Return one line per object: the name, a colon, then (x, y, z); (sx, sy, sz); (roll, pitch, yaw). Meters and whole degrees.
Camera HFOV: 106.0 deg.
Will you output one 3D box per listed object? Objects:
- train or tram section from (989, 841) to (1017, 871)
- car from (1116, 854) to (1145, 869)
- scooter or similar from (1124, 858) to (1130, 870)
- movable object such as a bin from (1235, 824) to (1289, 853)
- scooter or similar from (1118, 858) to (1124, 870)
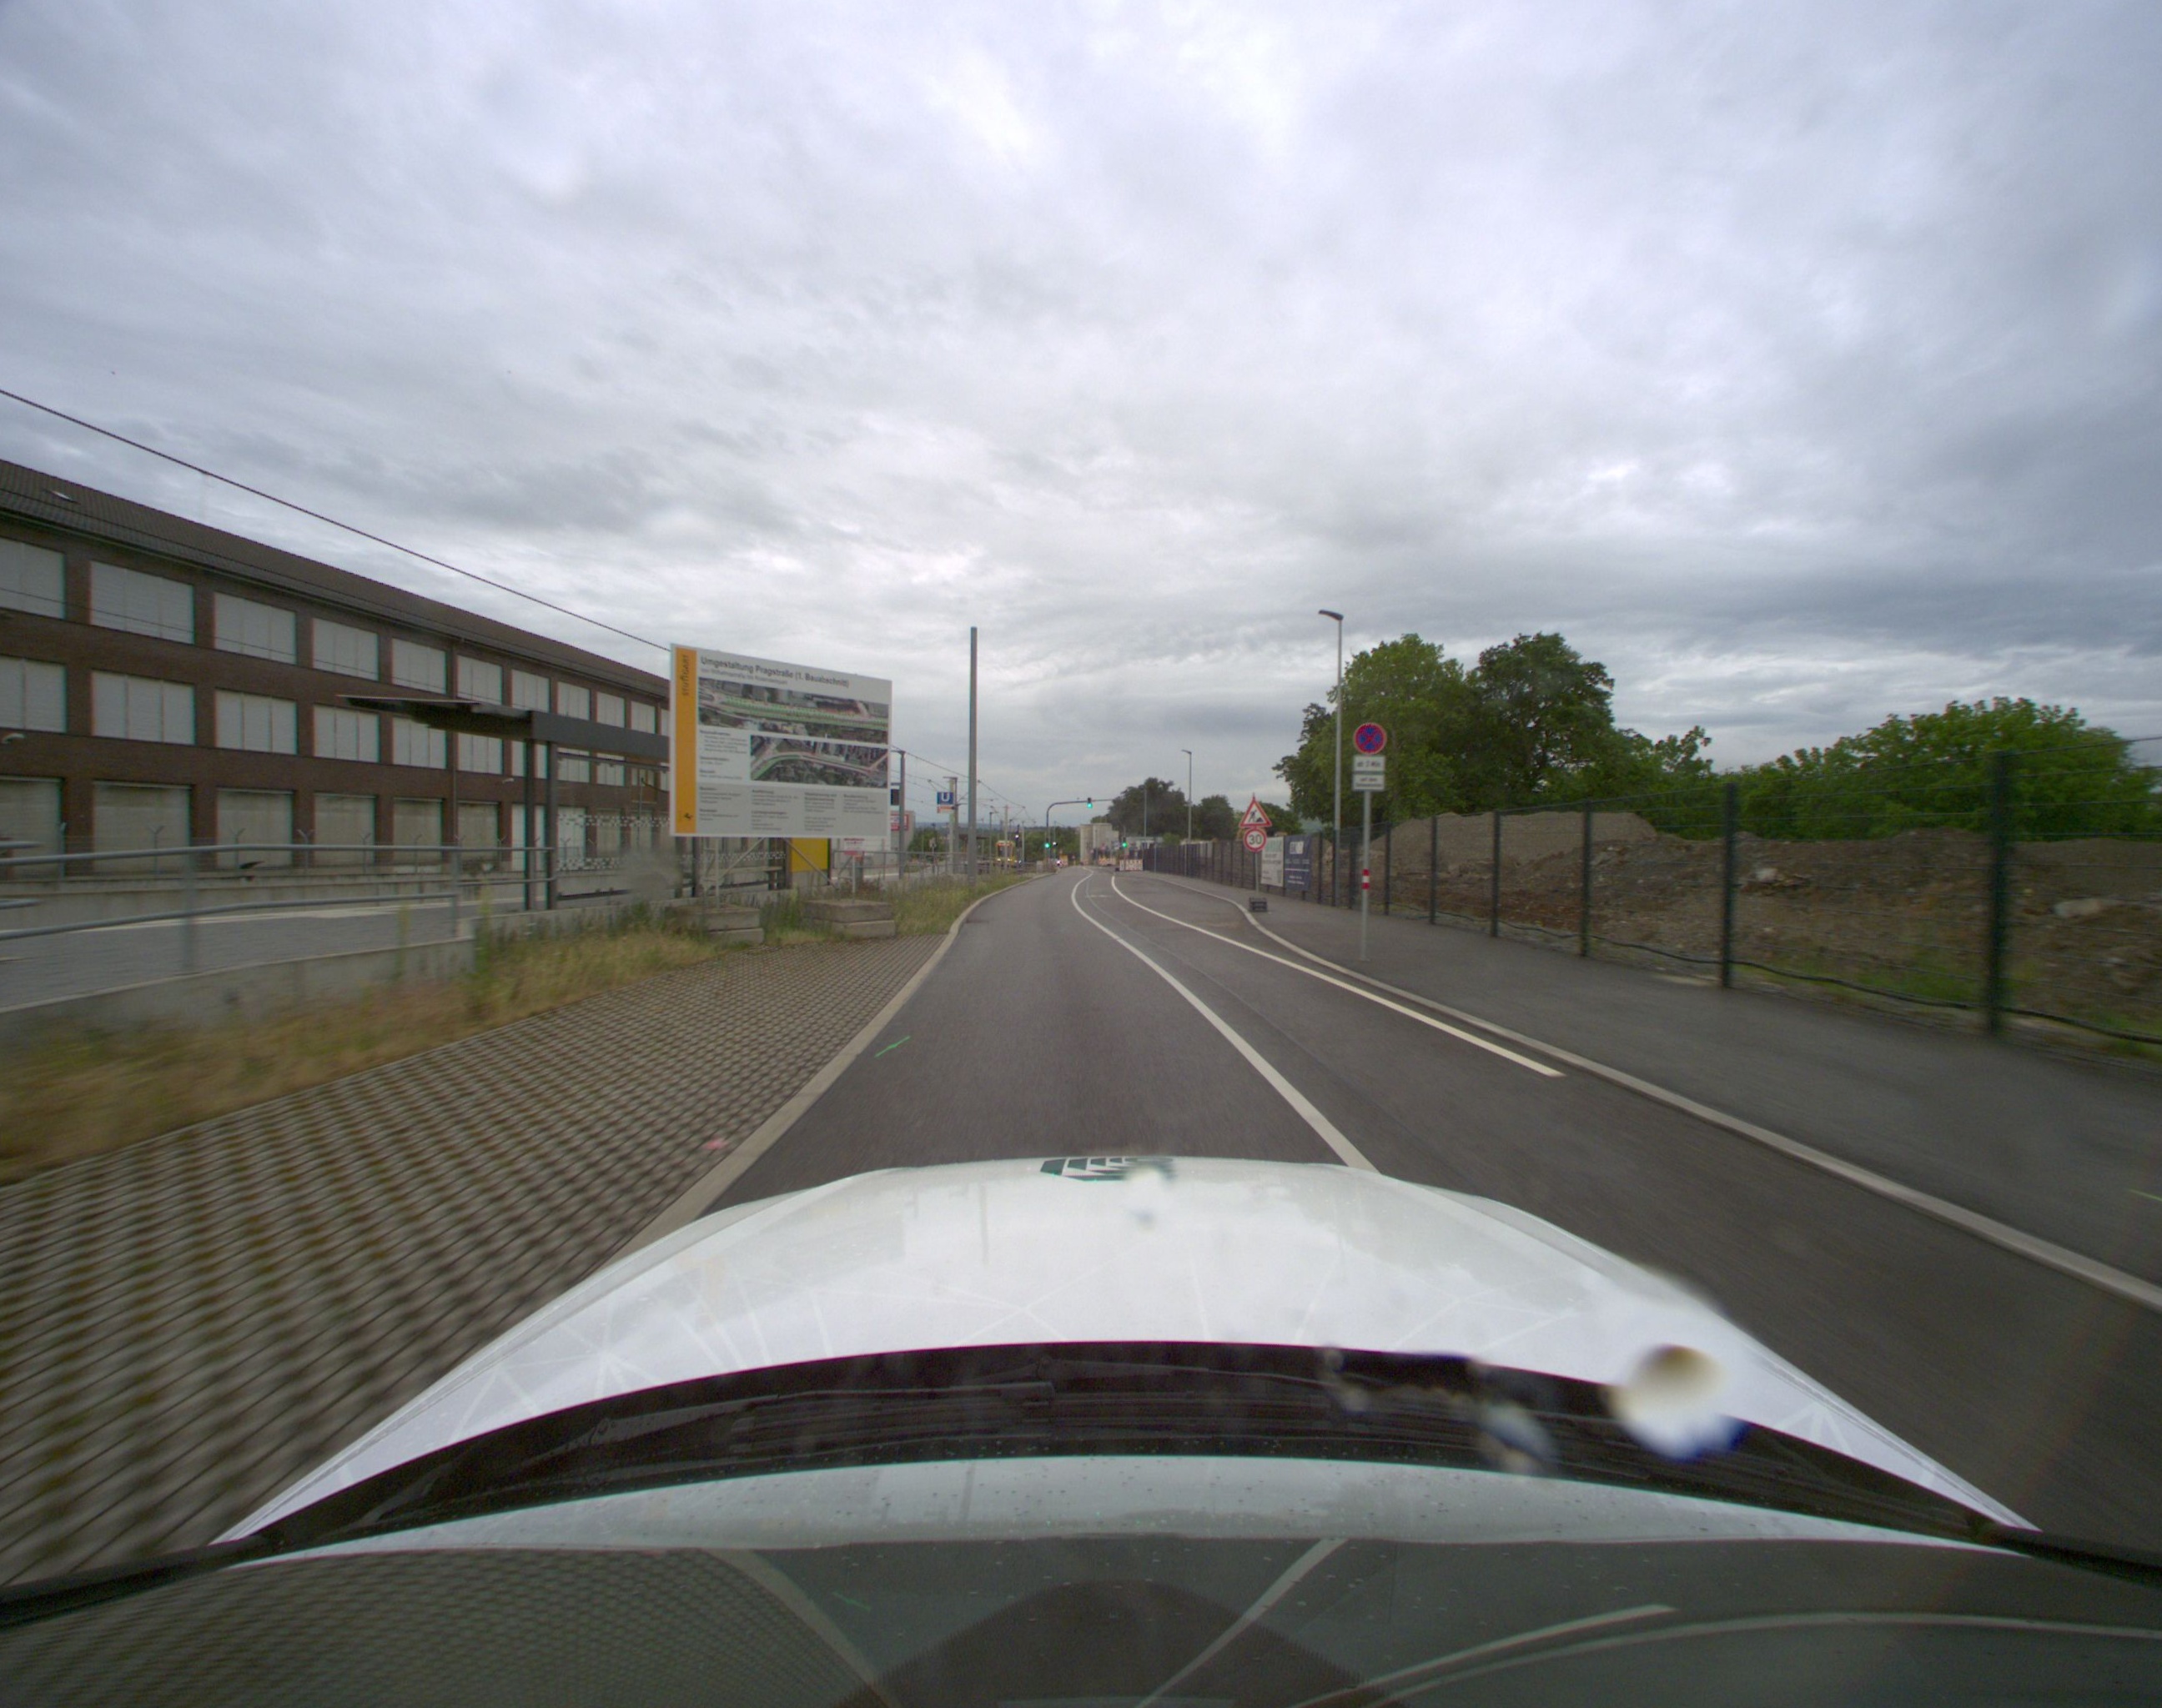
train or tram section: (-11.092, 0.283, 117.935); (2.948, 3.886, 19.552); (1, 0, -2)
car: (6.090, 0.874, 100.344); (1.802, 1.794, 4.436); (-1, 0, 29)
scooter or similar: (5.343, 1.151, 94.039); (0.612, 1.351, 1.915); (0, 0, 5)
movable object such as a bin: (39.546, -3.331, 177.904); (11.174, 5.996, 3.497); (-1, -1, 6)
scooter or similar: (4.660, 1.120, 94.103); (0.612, 1.351, 1.915); (0, 0, 5)
